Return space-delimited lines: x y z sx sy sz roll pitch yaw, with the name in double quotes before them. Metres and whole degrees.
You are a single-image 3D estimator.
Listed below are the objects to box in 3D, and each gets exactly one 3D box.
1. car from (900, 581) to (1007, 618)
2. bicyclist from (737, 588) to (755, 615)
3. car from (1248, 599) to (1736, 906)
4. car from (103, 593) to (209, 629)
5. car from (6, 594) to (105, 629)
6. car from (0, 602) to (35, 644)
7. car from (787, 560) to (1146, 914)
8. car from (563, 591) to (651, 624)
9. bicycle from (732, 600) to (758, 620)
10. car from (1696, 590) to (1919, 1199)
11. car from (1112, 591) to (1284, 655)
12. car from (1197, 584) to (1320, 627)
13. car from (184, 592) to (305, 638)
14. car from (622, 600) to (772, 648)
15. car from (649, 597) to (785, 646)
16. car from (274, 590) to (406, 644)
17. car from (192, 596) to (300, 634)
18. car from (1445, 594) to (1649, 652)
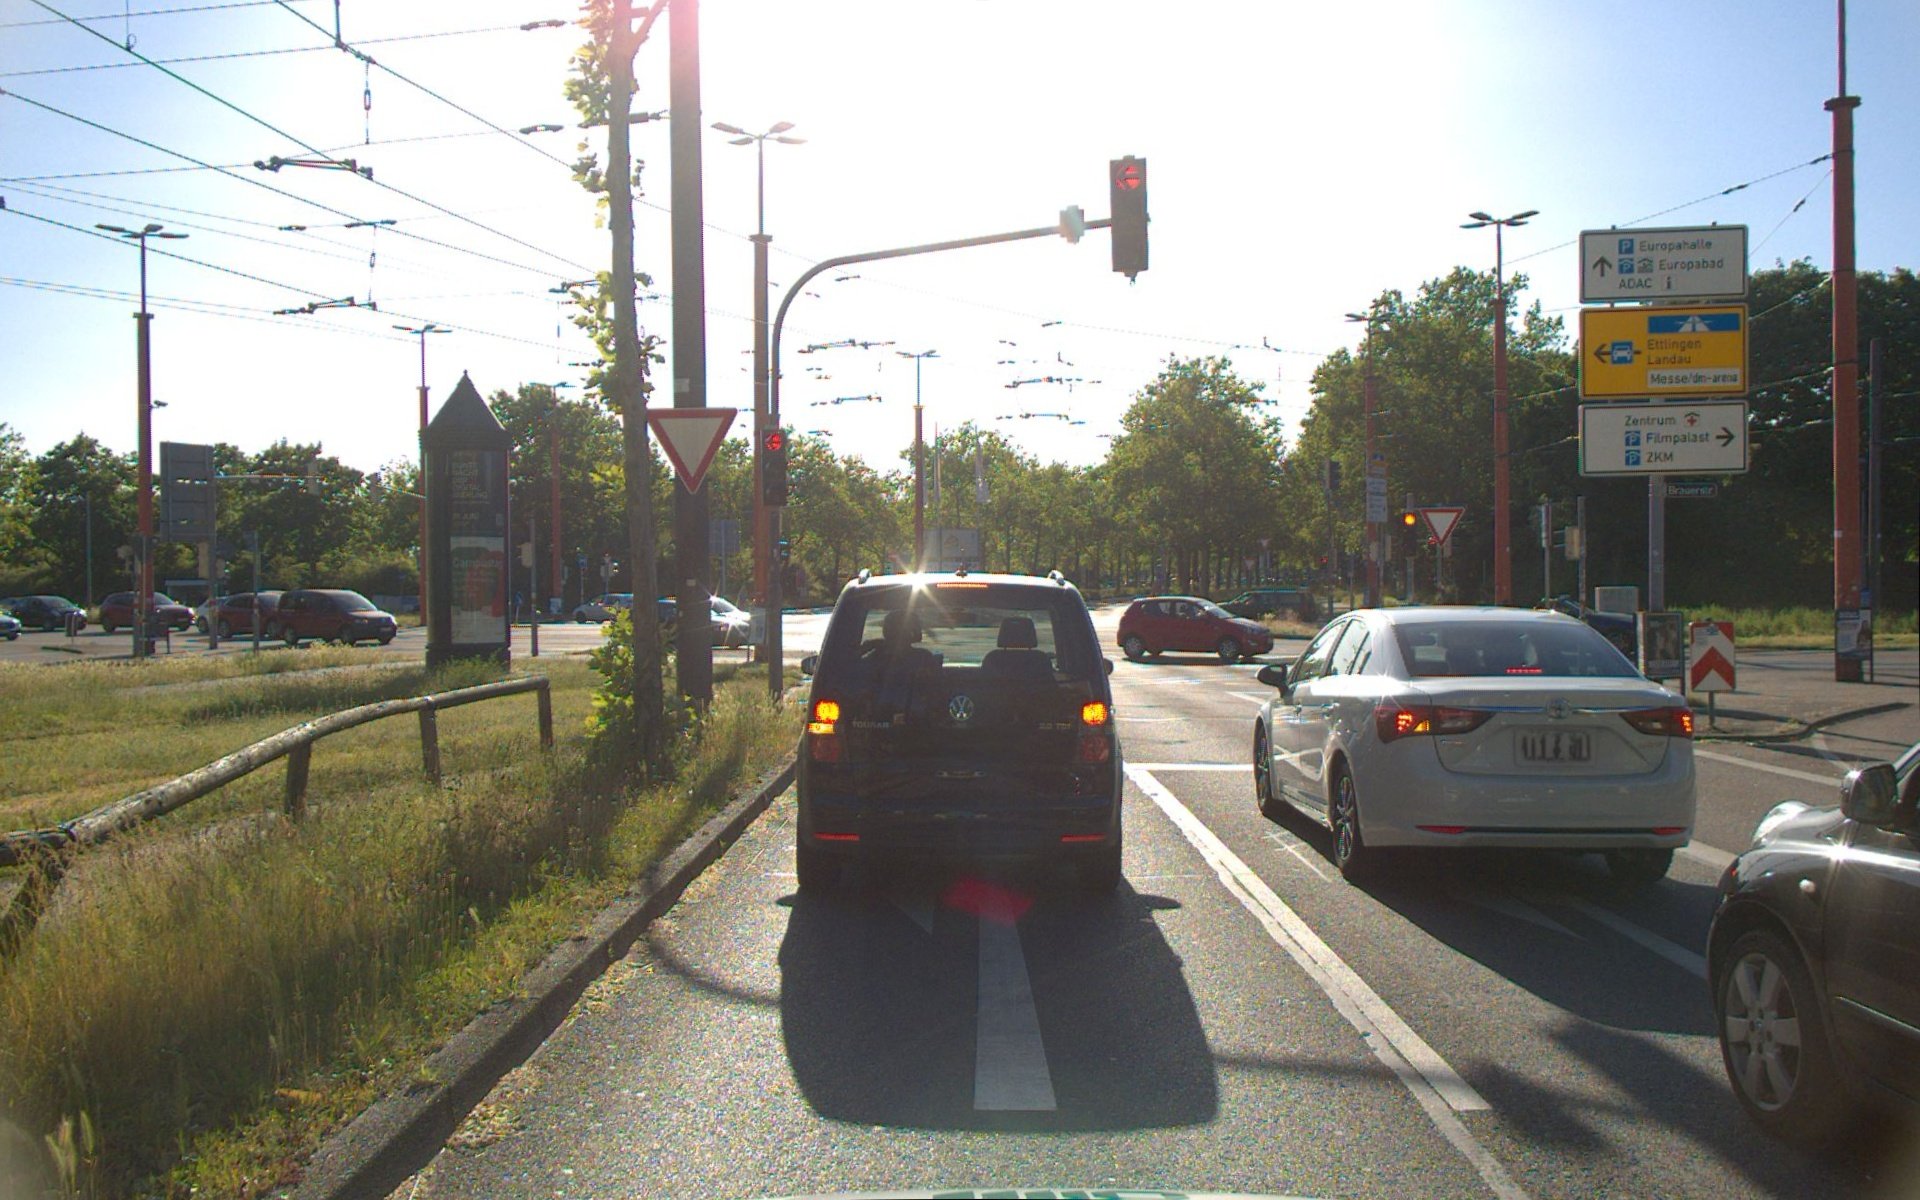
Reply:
"car" -0.277 -0.016 73.750 4.365 1.624 1.998 0 0 26
"bicyclist" -12.209 0.087 94.432 0.678 1.483 0.875 0 0 17
"car" 2.944 0.738 10.103 1.679 1.480 4.144 0 0 0
"car" -34.343 0.441 70.606 4.275 1.489 1.912 0 0 27
"car" -40.010 0.498 73.153 3.963 1.489 1.912 0 0 26
"car" -38.720 0.889 64.789 4.818 1.602 1.998 0 0 26
"car" 0.003 0.642 9.858 1.702 1.670 3.999 0 0 -1
"car" -17.679 0.357 82.813 3.909 1.608 1.998 0 0 27
"bicycle" -12.239 0.562 94.213 0.719 1.109 1.962 0 0 18
"car" 3.124 0.741 3.503 1.525 1.532 3.515 0 0 -1
"car" 5.939 0.555 41.318 3.909 1.521 1.769 0 0 27
"car" 11.674 0.202 64.624 4.365 1.624 1.998 0 0 26
"car" -27.244 0.564 62.947 4.463 1.697 1.840 0 0 28
"car" -7.776 0.681 48.871 4.222 1.350 1.759 0 0 29
"car" -7.836 0.661 53.167 4.140 1.505 1.751 0 0 29
"car" -21.020 0.551 56.028 4.260 1.762 1.840 0 0 28
"car" -29.353 0.599 67.983 4.127 1.489 1.912 0 0 27
"car" 14.520 0.542 40.988 4.564 1.386 1.769 0 0 28
